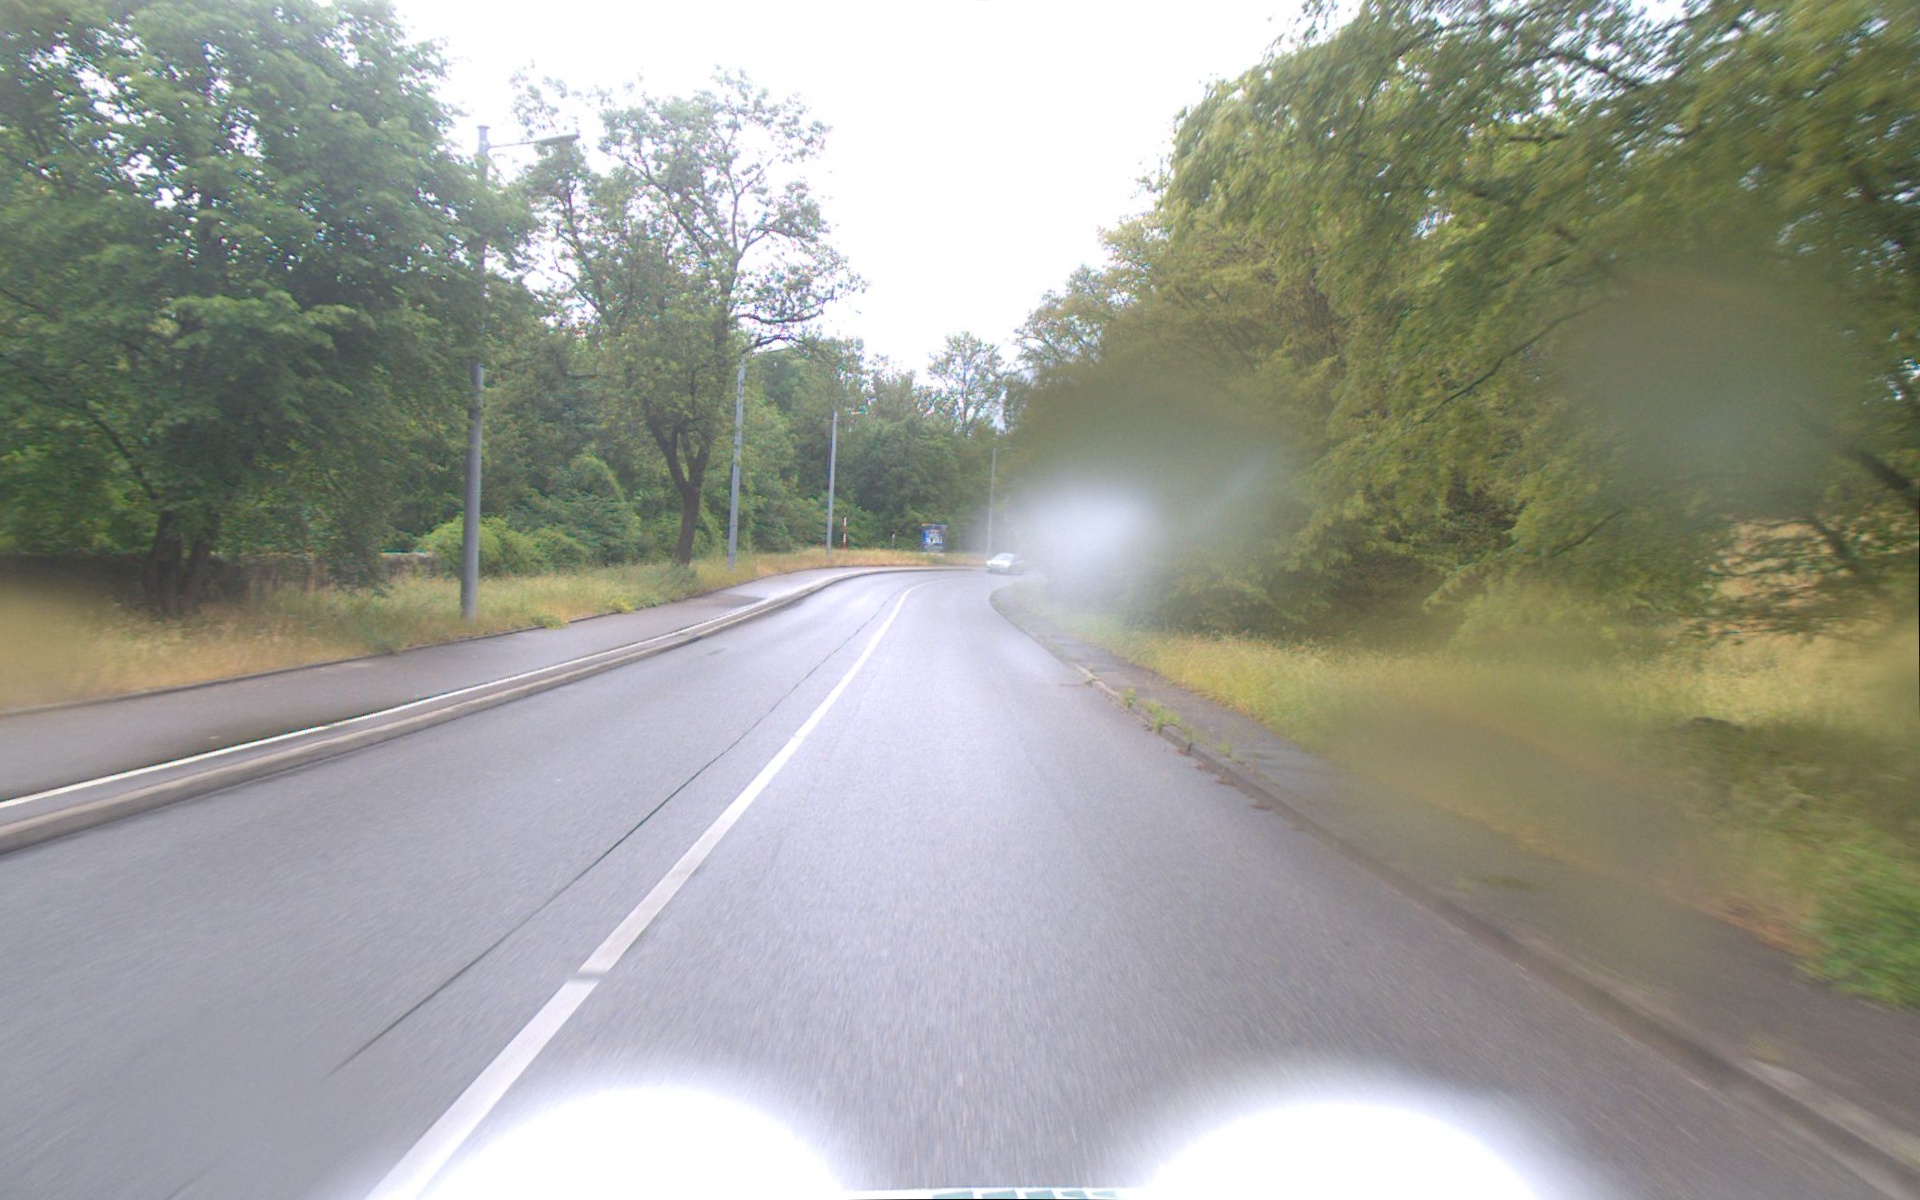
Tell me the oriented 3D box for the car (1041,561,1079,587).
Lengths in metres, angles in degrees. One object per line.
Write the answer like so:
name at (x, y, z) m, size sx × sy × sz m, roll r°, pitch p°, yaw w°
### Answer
car at (7.543, -1.978, 124.380) m, size 1.706 × 1.746 × 4.001 m, roll 3°, pitch 0°, yaw 19°

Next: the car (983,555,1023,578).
car at (3.184, -2.421, 121.732) m, size 1.744 × 1.454 × 4.478 m, roll 7°, pitch 2°, yaw 16°
